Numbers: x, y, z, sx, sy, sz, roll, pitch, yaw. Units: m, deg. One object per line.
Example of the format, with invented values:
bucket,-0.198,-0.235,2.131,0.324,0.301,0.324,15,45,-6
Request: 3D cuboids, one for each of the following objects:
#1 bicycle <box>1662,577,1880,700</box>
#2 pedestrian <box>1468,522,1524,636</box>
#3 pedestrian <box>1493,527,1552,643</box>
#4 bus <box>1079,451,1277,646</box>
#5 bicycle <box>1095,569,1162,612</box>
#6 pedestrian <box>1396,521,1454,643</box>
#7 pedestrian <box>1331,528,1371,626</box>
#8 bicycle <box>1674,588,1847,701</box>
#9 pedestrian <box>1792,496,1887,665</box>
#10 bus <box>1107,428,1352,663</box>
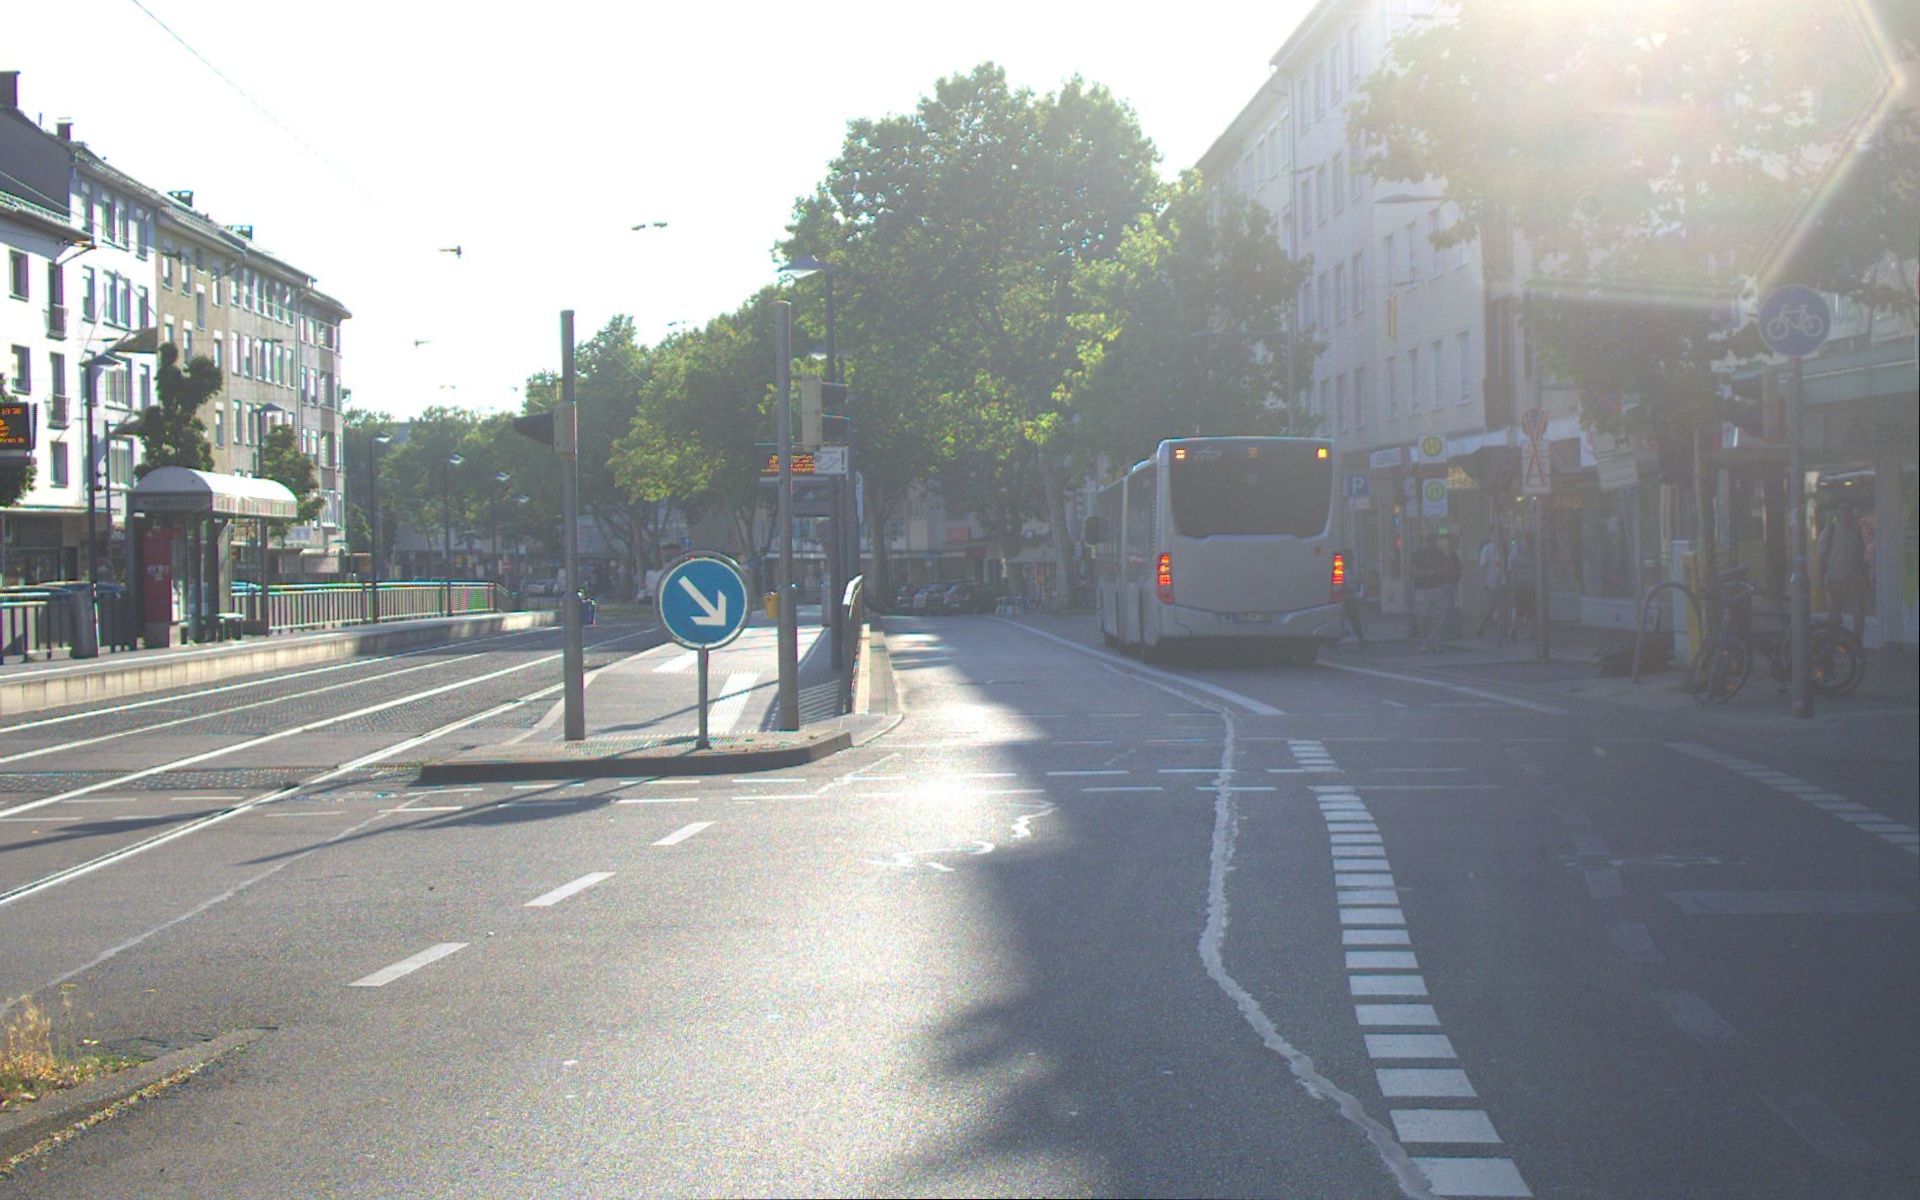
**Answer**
bicycle,7.358,0.342,31.228,1.798,1.005,0.541,-3,1,-4
pedestrian,8.461,-0.336,54.304,0.723,1.773,0.766,-1,0,-1
pedestrian,8.452,-0.231,51.693,0.723,1.717,0.766,-1,0,-1
bus,3.633,-0.878,59.336,2.696,3.107,9.070,0,1,-1
bicycle,4.944,-0.281,100.953,1.887,1.073,0.754,-5,1,2
pedestrian,6.950,-0.271,51.393,0.723,1.800,0.766,-1,0,-1
pedestrian,6.352,-0.377,55.864,0.610,1.573,0.851,-1,1,6
bicycle,7.418,0.408,31.867,1.482,1.005,0.454,-1,1,-4
pedestrian,9.398,-0.213,36.764,0.743,1.774,0.895,-1,0,-1
bus,3.768,-0.771,50.179,2.696,3.107,9.382,0,1,-1
